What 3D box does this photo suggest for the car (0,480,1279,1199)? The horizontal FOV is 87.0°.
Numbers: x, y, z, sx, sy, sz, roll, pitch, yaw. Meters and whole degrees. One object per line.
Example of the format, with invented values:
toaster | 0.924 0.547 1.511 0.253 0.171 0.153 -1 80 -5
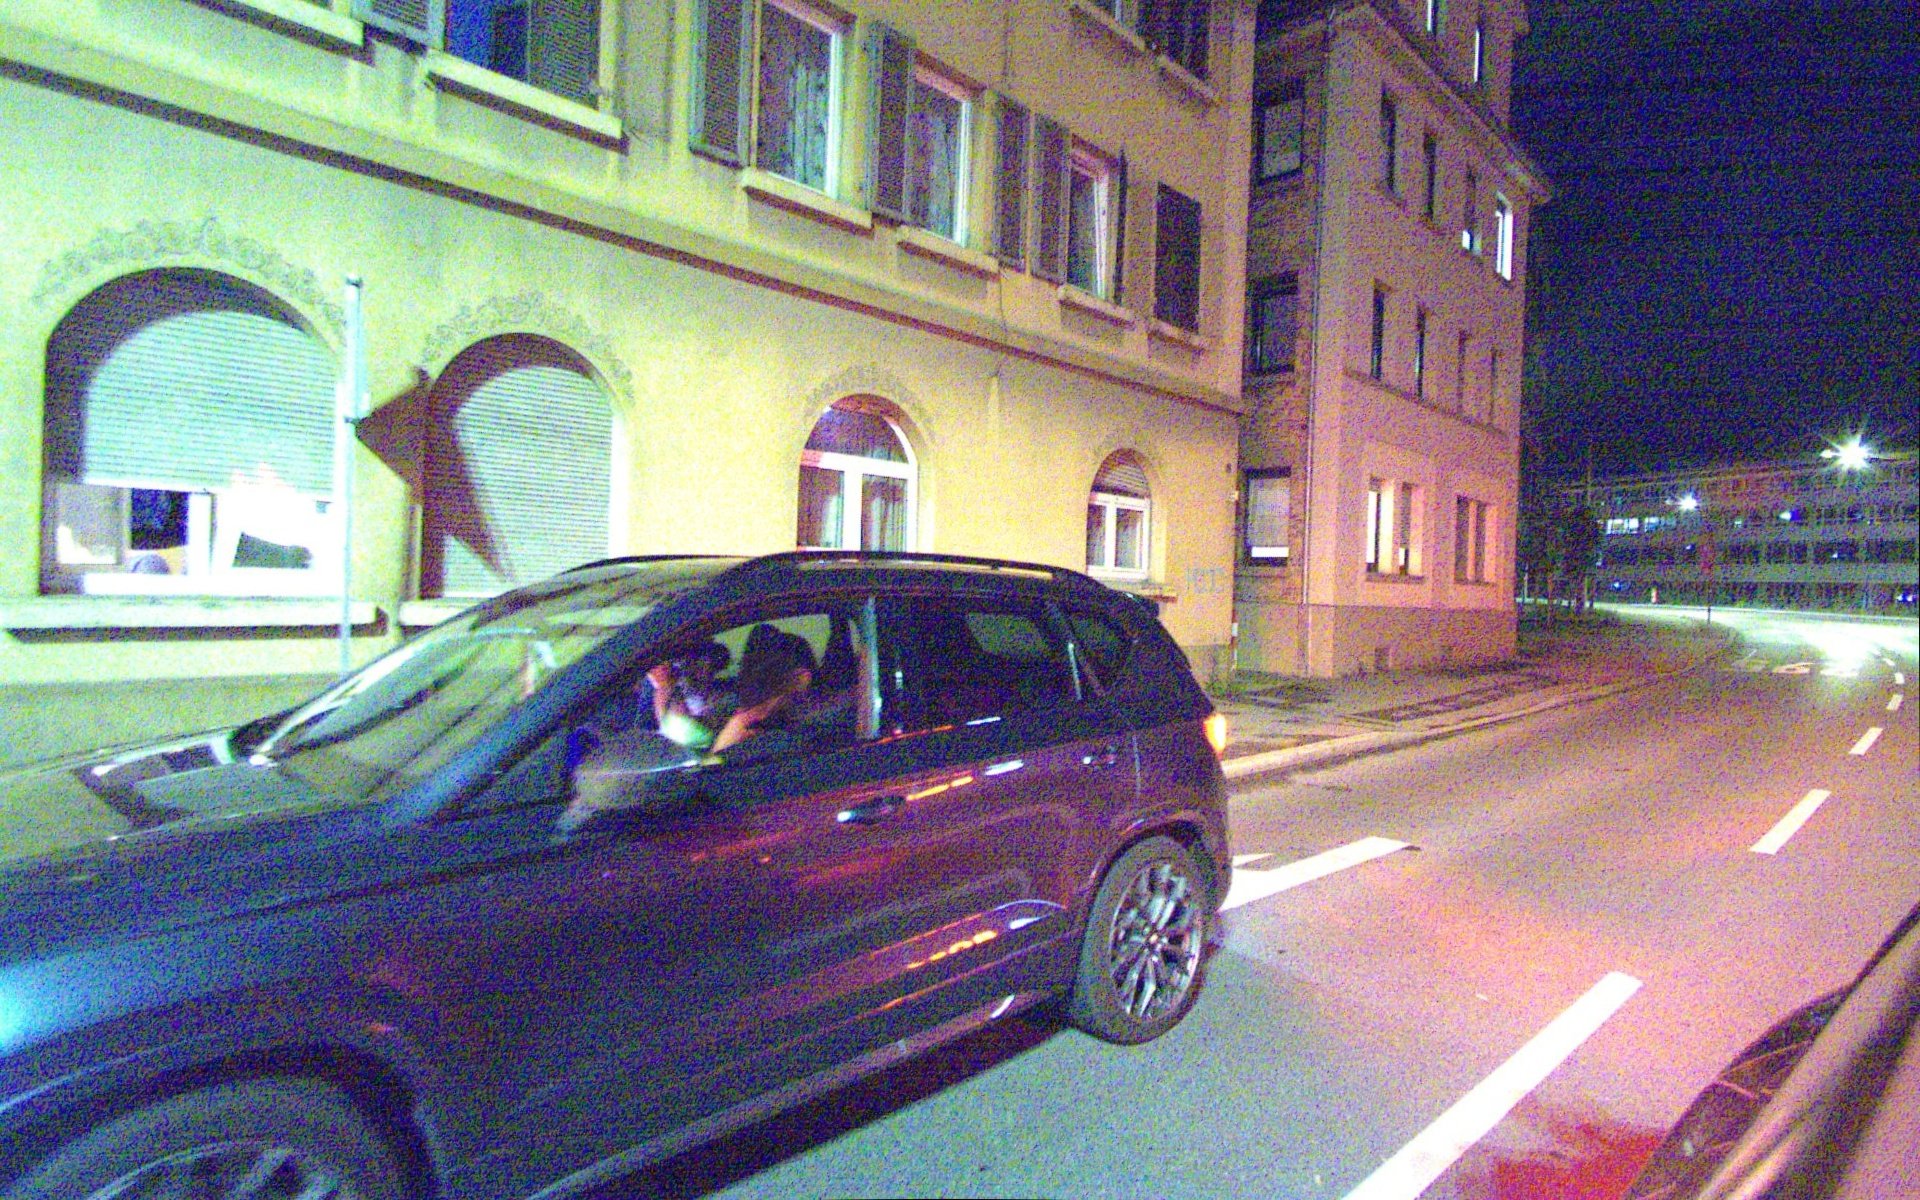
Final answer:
car | -0.846 0.607 3.024 4.160 1.630 1.671 -2 2 -44
